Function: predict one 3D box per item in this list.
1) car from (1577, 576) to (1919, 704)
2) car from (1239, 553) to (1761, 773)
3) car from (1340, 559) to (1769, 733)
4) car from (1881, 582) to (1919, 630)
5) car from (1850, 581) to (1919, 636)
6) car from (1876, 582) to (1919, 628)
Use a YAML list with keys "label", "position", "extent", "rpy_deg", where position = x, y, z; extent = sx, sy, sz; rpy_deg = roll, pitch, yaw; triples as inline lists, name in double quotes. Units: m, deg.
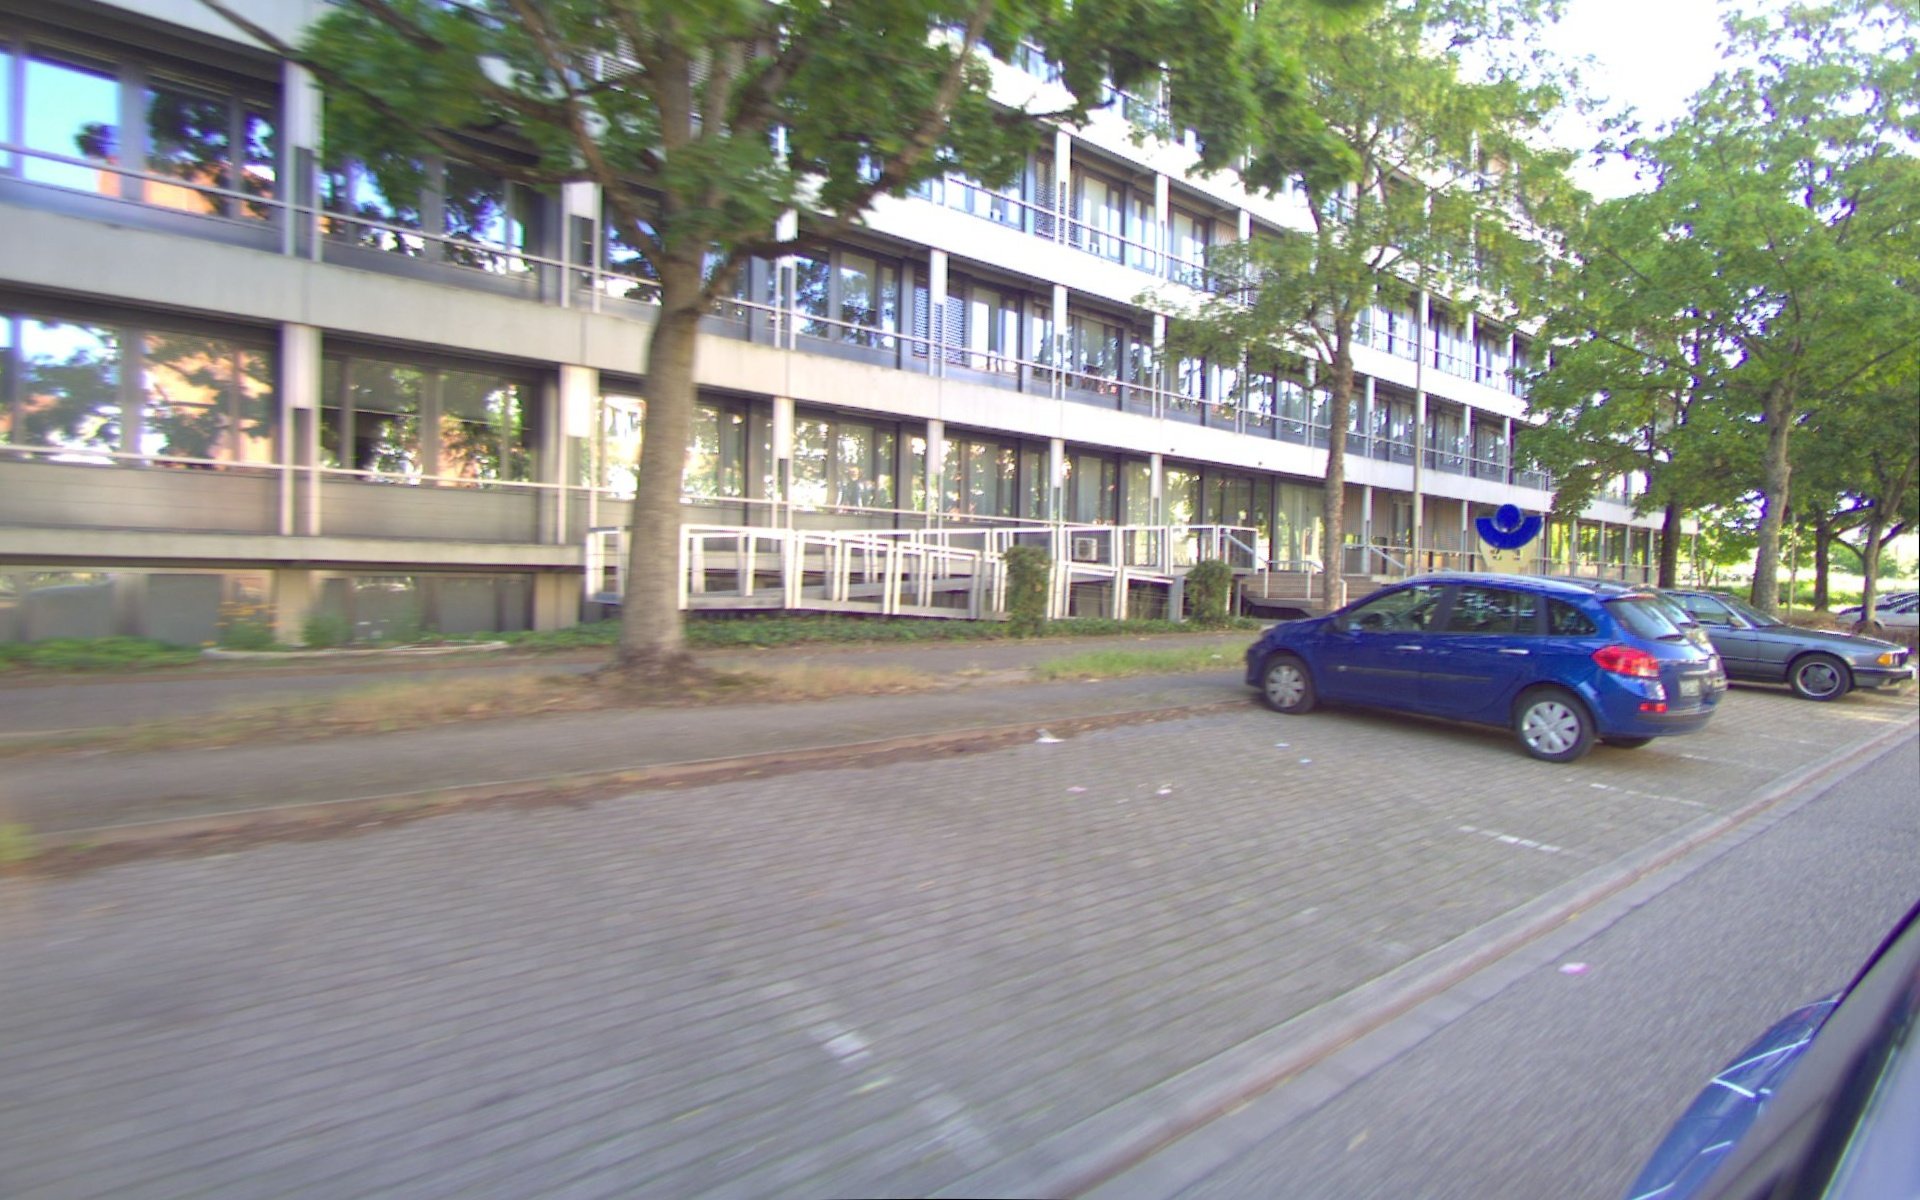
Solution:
- label: "car"
  position: [11.359, 0.457, 14.576]
  extent: [1.561, 1.398, 3.912]
  rpy_deg: [-2, 5, -42]
- label: "car"
  position: [4.842, 0.396, 9.630]
  extent: [1.682, 1.512, 4.001]
  rpy_deg: [0, 4, -36]
- label: "car"
  position: [6.609, 0.372, 11.672]
  extent: [1.558, 1.512, 3.920]
  rpy_deg: [0, 4, -36]
- label: "car"
  position: [31.858, 0.263, 31.879]
  extent: [1.773, 1.497, 3.994]
  rpy_deg: [0, 4, -42]
- label: "car"
  position: [27.882, 0.296, 28.527]
  extent: [1.773, 1.497, 3.994]
  rpy_deg: [0, 4, -42]
- label: "car"
  position: [33.482, 0.224, 33.878]
  extent: [1.773, 1.497, 3.994]
  rpy_deg: [0, 4, -42]
